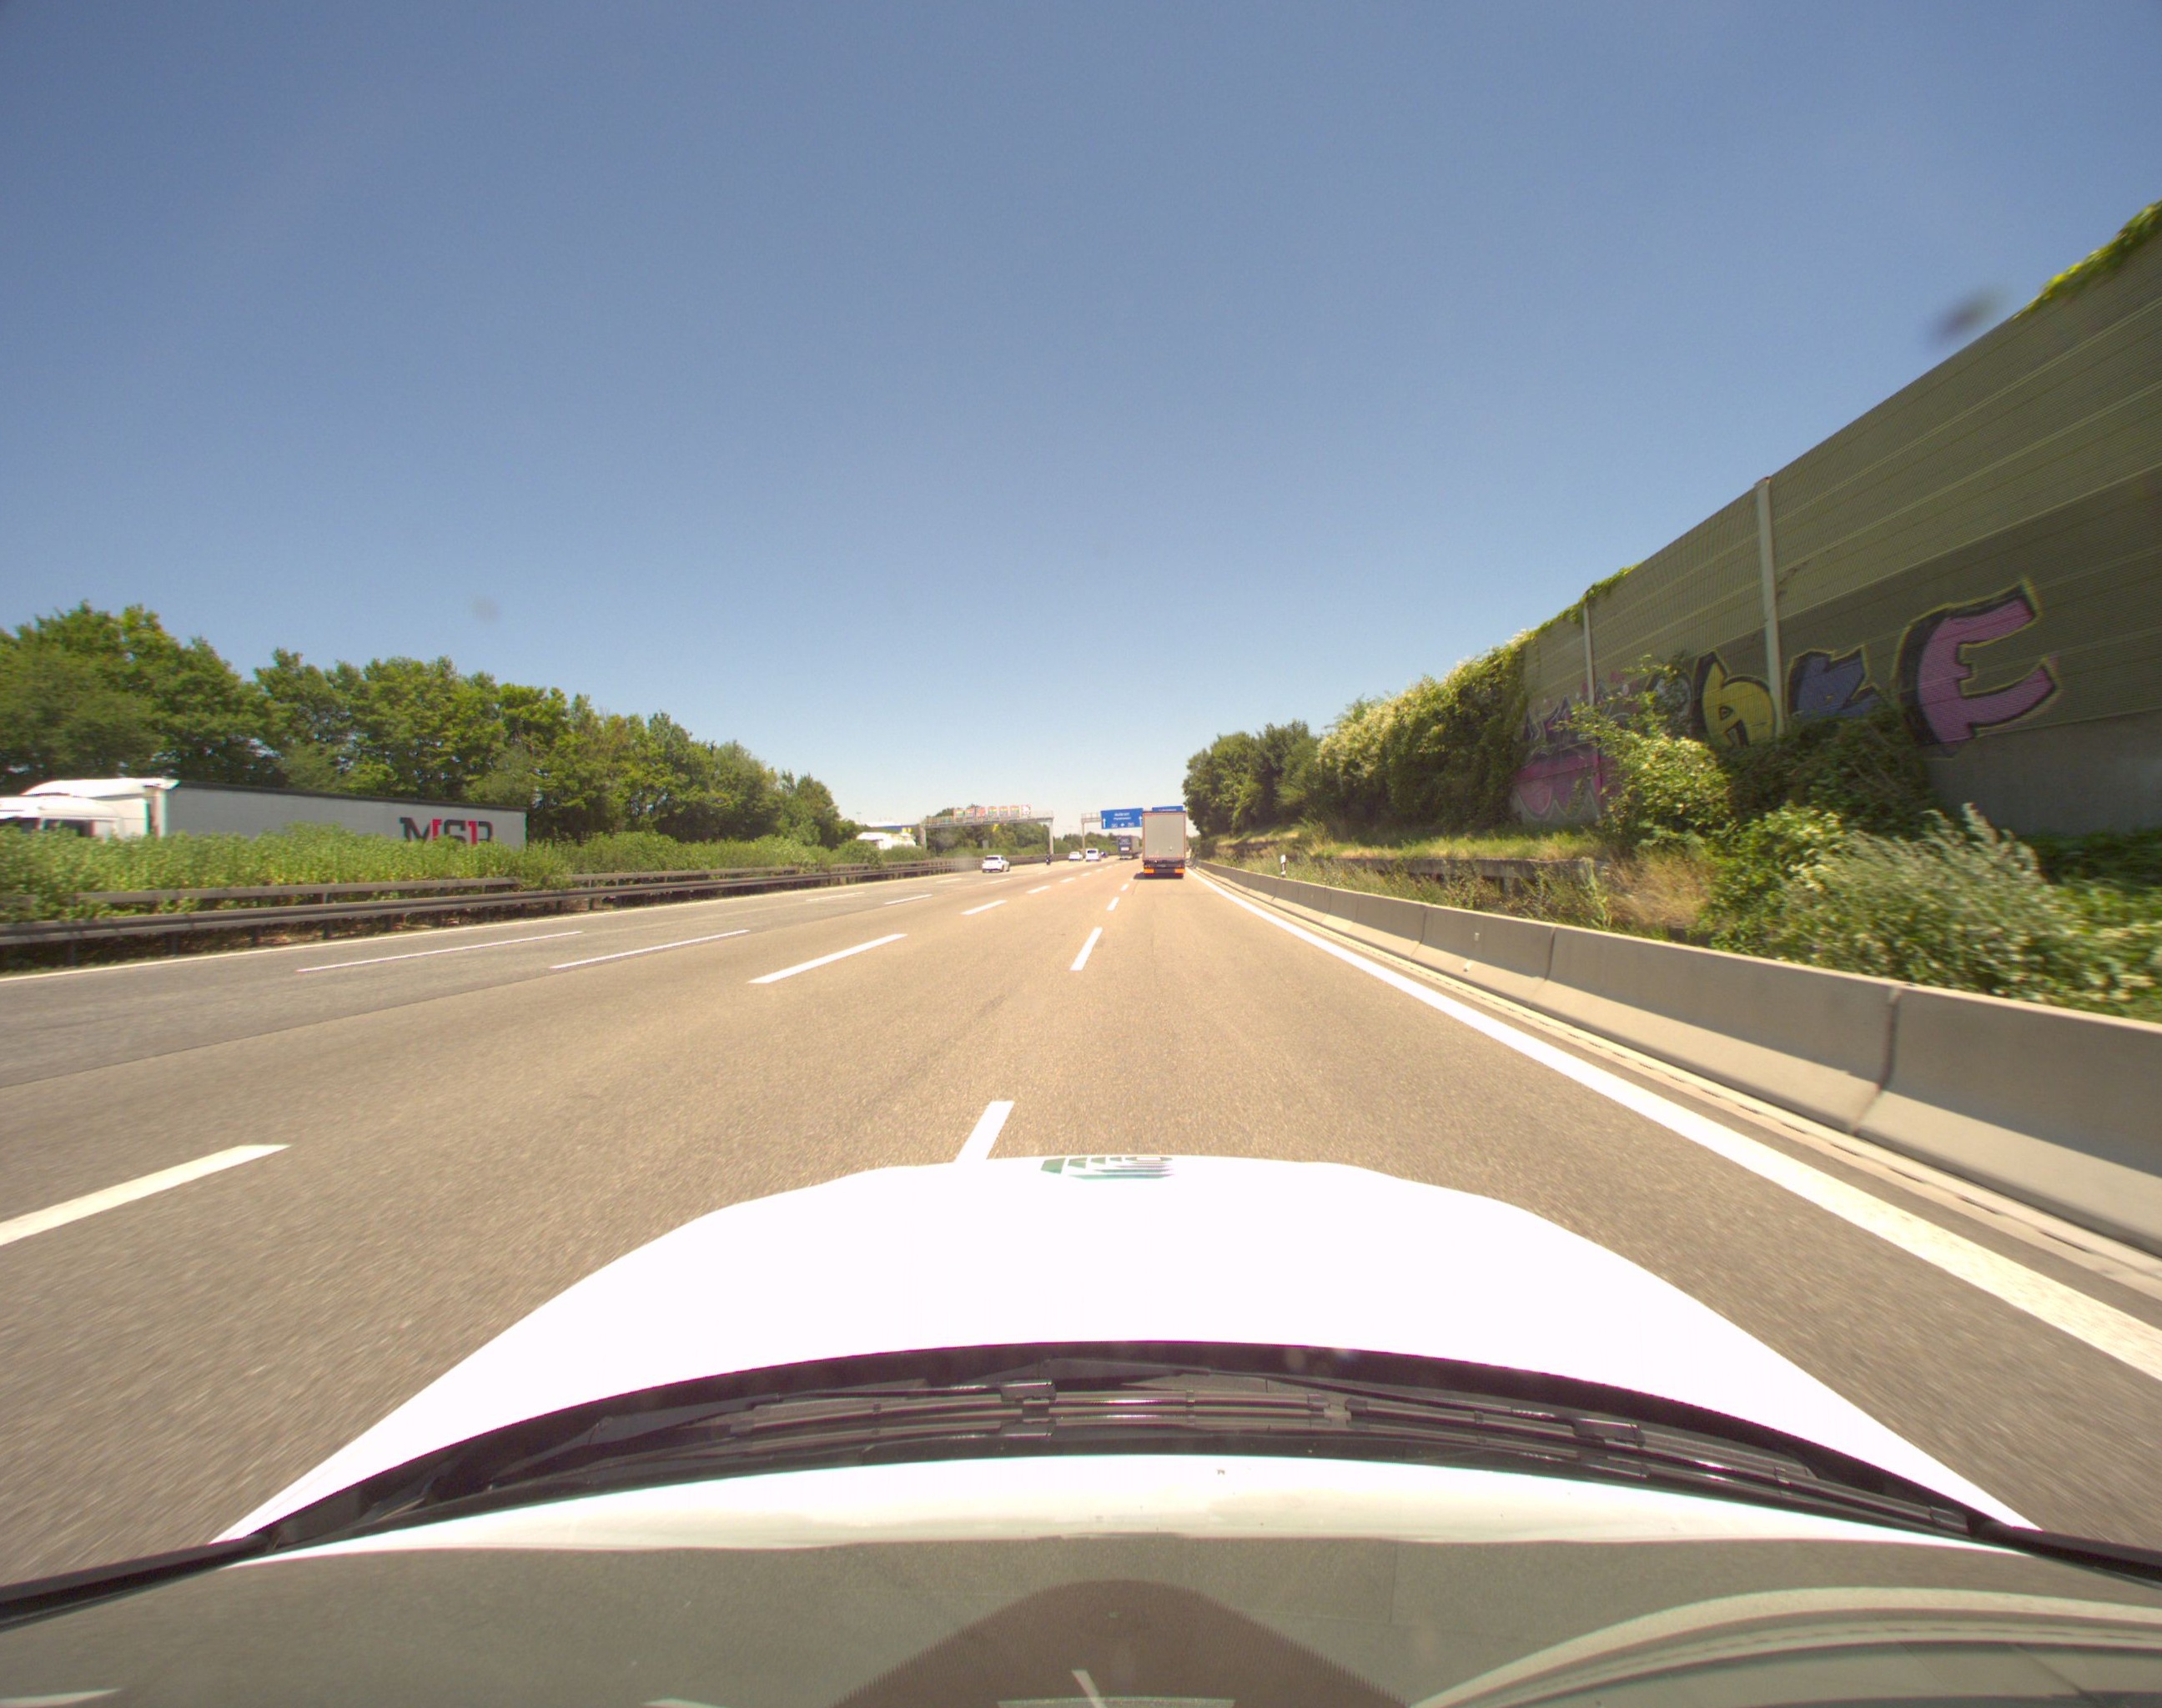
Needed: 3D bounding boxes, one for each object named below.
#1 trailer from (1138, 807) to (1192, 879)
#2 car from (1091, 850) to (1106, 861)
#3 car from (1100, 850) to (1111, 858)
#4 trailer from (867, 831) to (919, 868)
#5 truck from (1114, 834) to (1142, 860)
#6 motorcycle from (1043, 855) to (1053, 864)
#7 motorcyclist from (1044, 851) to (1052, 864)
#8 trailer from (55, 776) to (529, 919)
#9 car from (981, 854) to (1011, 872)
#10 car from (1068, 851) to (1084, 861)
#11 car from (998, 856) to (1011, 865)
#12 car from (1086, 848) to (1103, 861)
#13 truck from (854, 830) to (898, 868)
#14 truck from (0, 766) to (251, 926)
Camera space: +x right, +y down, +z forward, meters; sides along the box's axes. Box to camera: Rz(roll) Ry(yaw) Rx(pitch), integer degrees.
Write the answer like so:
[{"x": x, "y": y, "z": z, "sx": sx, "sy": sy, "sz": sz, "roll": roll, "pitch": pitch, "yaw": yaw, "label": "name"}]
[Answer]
[{"x": 5.390, "y": -0.683, "z": 52.785, "sx": 2.914, "sy": 4.015, "sz": 12.057, "roll": -2, "pitch": 0, "yaw": 5, "label": "trailer"}, {"x": 2.992, "y": 0.266, "z": 138.107, "sx": 1.866, "sy": 1.806, "sz": 5.136, "roll": -1, "pitch": -1, "yaw": 7, "label": "car"}, {"x": 4.796, "y": -0.003, "z": 161.483, "sx": 1.748, "sy": 1.408, "sz": 5.048, "roll": -2, "pitch": 0, "yaw": 6, "label": "car"}, {"x": -21.109, "y": -0.540, "z": 91.934, "sx": 2.676, "sy": 3.889, "sz": 9.750, "roll": -1, "pitch": 0, "yaw": 6, "label": "trailer"}, {"x": 8.345, "y": -1.184, "z": 142.198, "sx": 3.726, "sy": 4.270, "sz": 14.528, "roll": -1, "pitch": 0, "yaw": 8, "label": "truck"}, {"x": -4.002, "y": 0.658, "z": 98.316, "sx": 0.909, "sy": 1.089, "sz": 2.850, "roll": -1, "pitch": -1, "yaw": 2, "label": "motorcycle"}, {"x": -4.013, "y": 0.415, "z": 98.318, "sx": 0.890, "sy": 1.597, "sz": 1.299, "roll": -1, "pitch": -1, "yaw": 1, "label": "motorcyclist"}, {"x": -27.556, "y": -0.175, "z": 30.497, "sx": 3.376, "sy": 4.090, "sz": 13.943, "roll": -1, "pitch": 0, "yaw": 4, "label": "trailer"}, {"x": -7.227, "y": 0.779, "z": 69.588, "sx": 1.774, "sy": 1.440, "sz": 4.674, "roll": -1, "pitch": 0, "yaw": 4, "label": "car"}, {"x": -0.756, "y": 0.287, "z": 127.701, "sx": 1.866, "sy": 1.440, "sz": 5.136, "roll": -1, "pitch": -1, "yaw": 8, "label": "car"}, {"x": -15.878, "y": 1.404, "z": 168.936, "sx": 1.895, "sy": 1.717, "sz": 4.637, "roll": -2, "pitch": -2, "yaw": 5, "label": "car"}, {"x": 2.027, "y": 0.068, "z": 121.576, "sx": 1.920, "sy": 1.851, "sz": 4.701, "roll": -2, "pitch": -1, "yaw": 7, "label": "car"}, {"x": -21.659, "y": -0.508, "z": 86.348, "sx": 2.682, "sy": 3.889, "sz": 5.754, "roll": -1, "pitch": 0, "yaw": 6, "label": "truck"}, {"x": -28.097, "y": -0.187, "z": 23.452, "sx": 3.317, "sy": 4.090, "sz": 4.834, "roll": -1, "pitch": 0, "yaw": 4, "label": "truck"}]
